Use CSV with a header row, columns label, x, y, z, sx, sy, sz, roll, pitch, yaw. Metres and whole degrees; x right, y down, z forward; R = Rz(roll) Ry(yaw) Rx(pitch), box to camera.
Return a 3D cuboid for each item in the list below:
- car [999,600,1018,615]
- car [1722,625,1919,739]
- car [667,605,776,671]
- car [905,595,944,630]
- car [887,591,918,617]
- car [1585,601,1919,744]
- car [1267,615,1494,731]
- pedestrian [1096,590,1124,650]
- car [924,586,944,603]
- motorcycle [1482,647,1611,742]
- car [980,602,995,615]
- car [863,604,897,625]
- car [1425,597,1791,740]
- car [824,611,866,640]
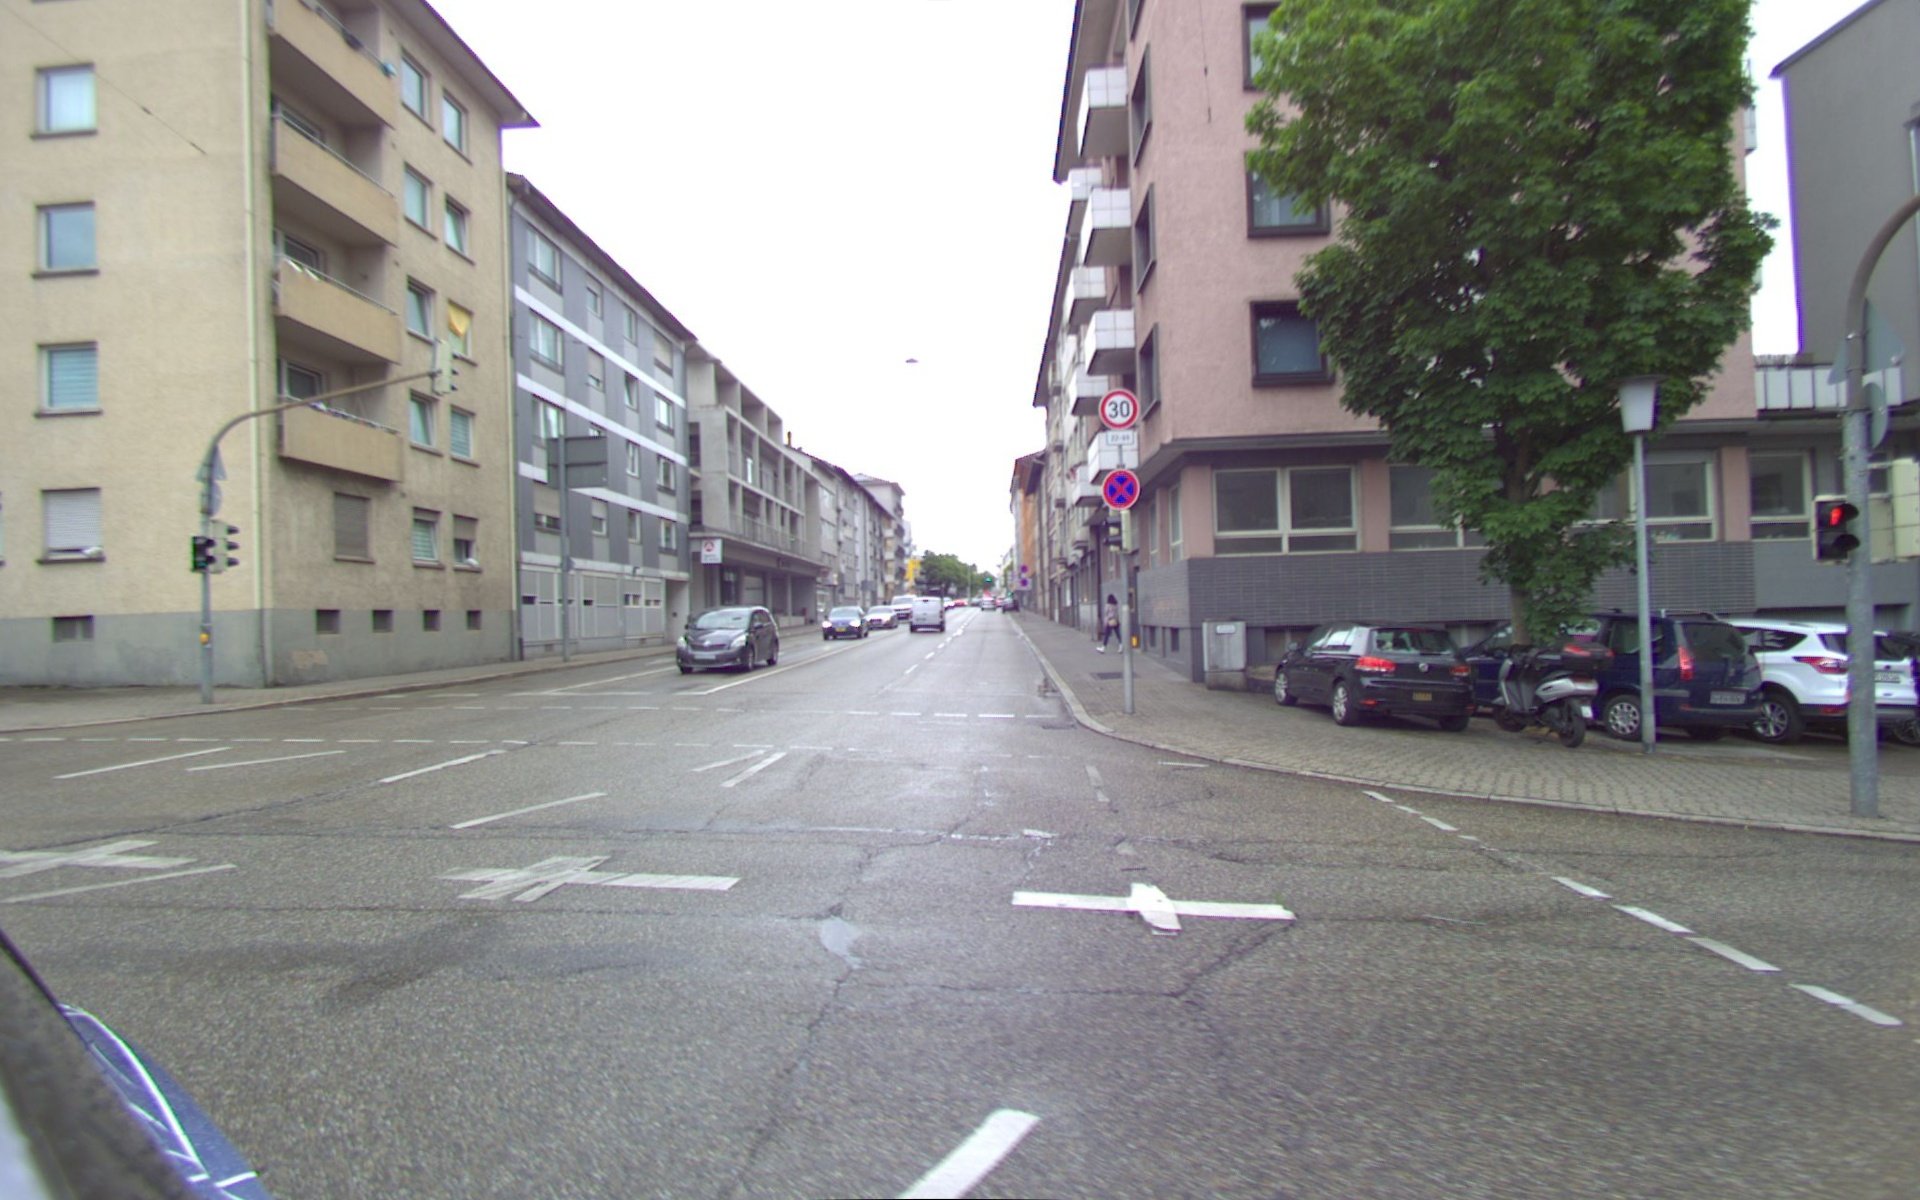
label,x,y,z,sx,sy,sz,roll,pitch,yaw
car,5.036,0.770,105.205,1.684,1.466,3.806,-3,0,-1
car,13.922,1.201,14.937,1.830,1.507,4.009,3,-1,-11
car,-5.947,0.922,25.702,1.709,1.492,4.070,-2,-1,1
car,-1.804,0.626,53.300,1.787,1.728,4.544,1,0,1
car,-4.136,0.261,72.919,1.701,1.674,3.675,-3,0,4
car,11.745,0.988,15.045,1.830,1.807,4.010,3,-2,-13
car,6.101,0.985,15.220,1.714,1.370,4.000,1,1,0
pedestrian,4.122,0.539,27.781,0.522,1.569,0.451,-8,6,-43
car,-2.897,-0.619,112.821,1.829,1.674,3.675,-3,0,4
motorcycle,7.476,1.171,12.989,0.446,1.040,1.797,0,0,-6
car,3.221,0.998,120.028,1.709,1.472,4.071,1,1,1
car,-4.680,0.843,59.838,1.528,1.076,3.092,-3,0,4
car,9.328,0.889,15.067,1.743,1.741,4.361,3,0,-20
car,-5.172,1.131,45.709,1.669,1.157,4.003,0,0,-3
